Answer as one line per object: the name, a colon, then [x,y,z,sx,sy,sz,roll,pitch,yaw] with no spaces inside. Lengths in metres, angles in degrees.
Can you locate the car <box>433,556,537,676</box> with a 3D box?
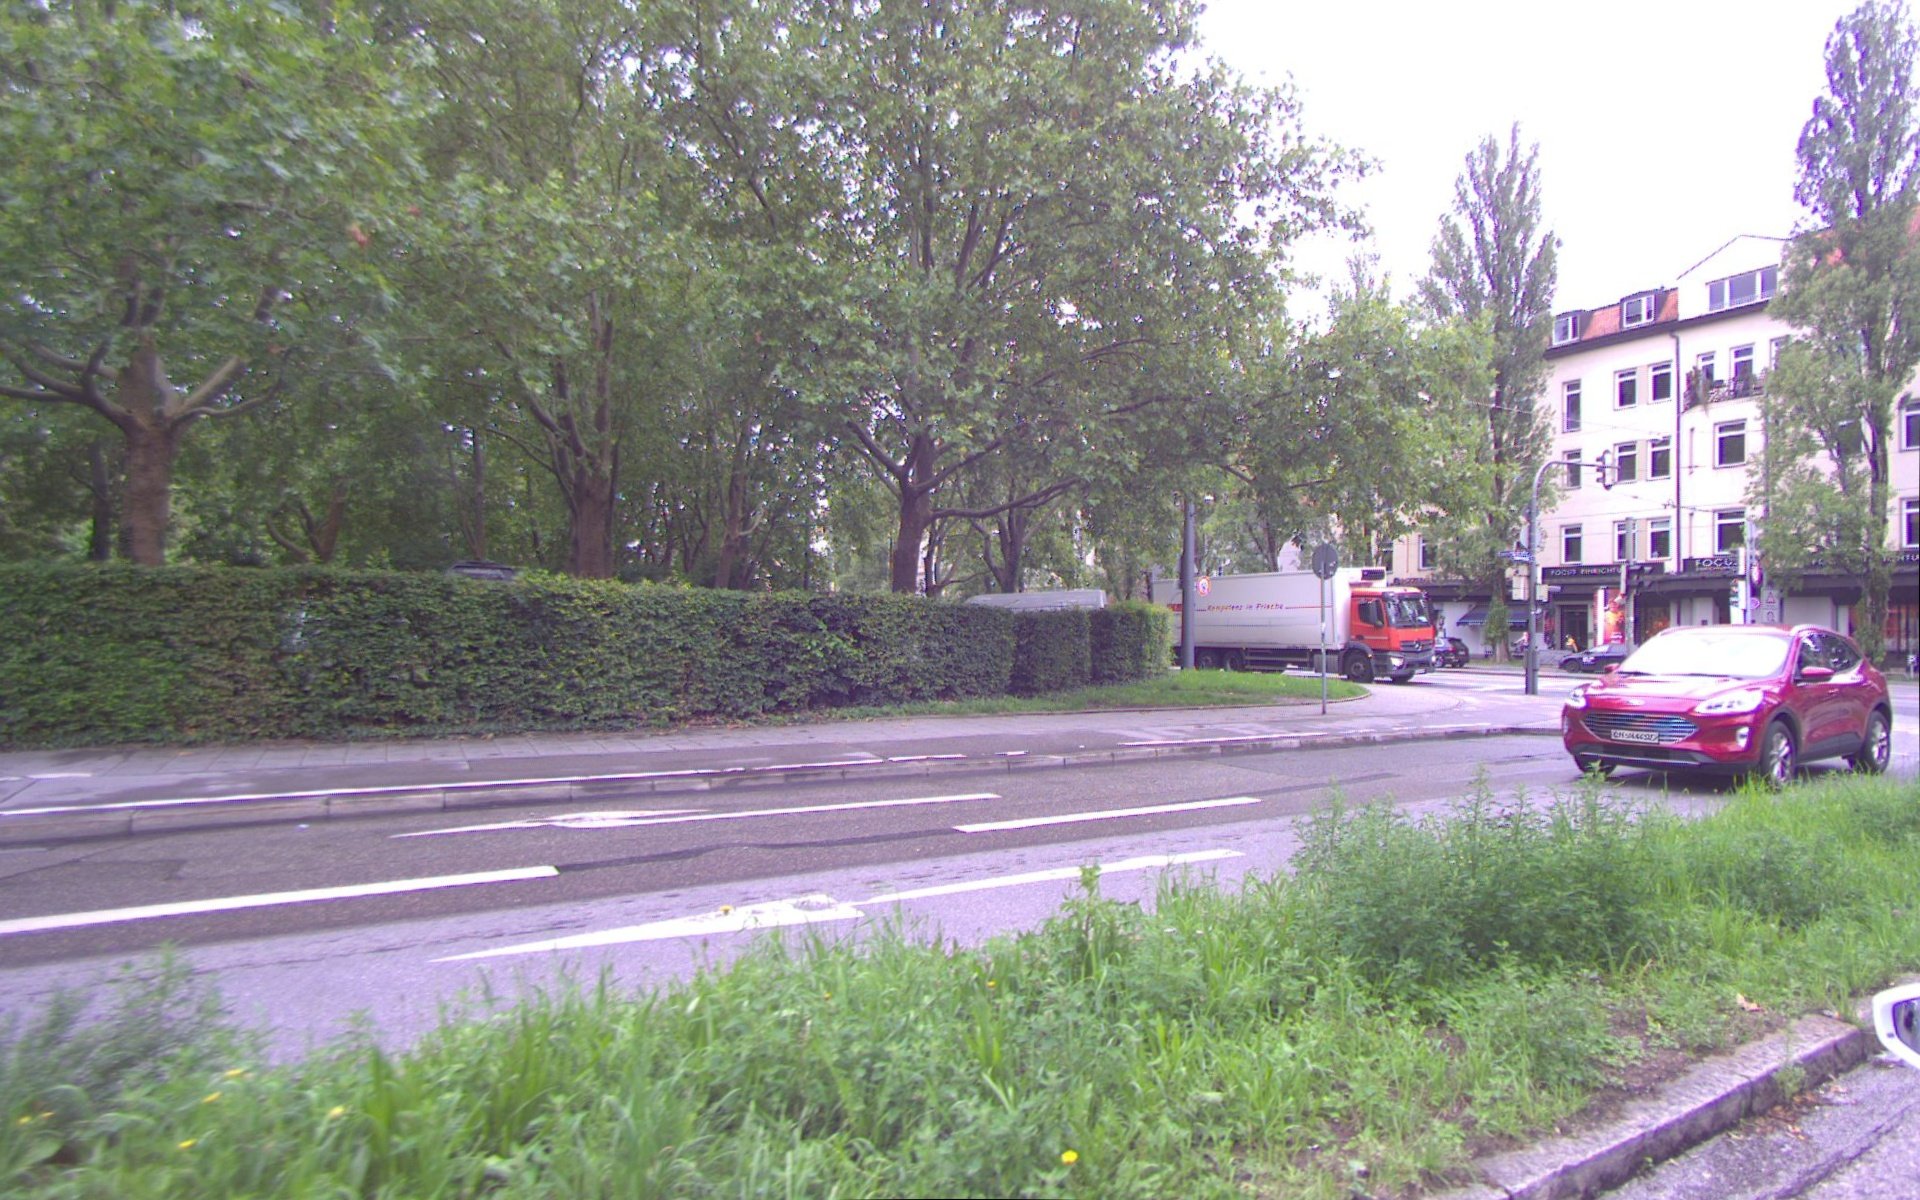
car: [-11.709,0.348,24.693,1.974,2.569,5.823,2,-1,-27]

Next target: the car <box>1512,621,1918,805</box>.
car: [8.630,1.089,11.368,4.885,1.659,2.092,1,-2,-33]

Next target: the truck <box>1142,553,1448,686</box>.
truck: [11.448,0.743,36.310,2.716,4.033,11.623,0,-1,-30]

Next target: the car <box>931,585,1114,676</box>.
car: [1.719,0.828,26.905,4.535,2.040,2.001,-4,-2,11]

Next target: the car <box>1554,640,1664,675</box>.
car: [30.129,2.653,46.713,1.786,1.485,3.964,3,-2,-33]

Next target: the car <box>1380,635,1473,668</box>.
car: [25.276,2.768,54.558,1.707,1.633,4.435,2,-2,-30]
